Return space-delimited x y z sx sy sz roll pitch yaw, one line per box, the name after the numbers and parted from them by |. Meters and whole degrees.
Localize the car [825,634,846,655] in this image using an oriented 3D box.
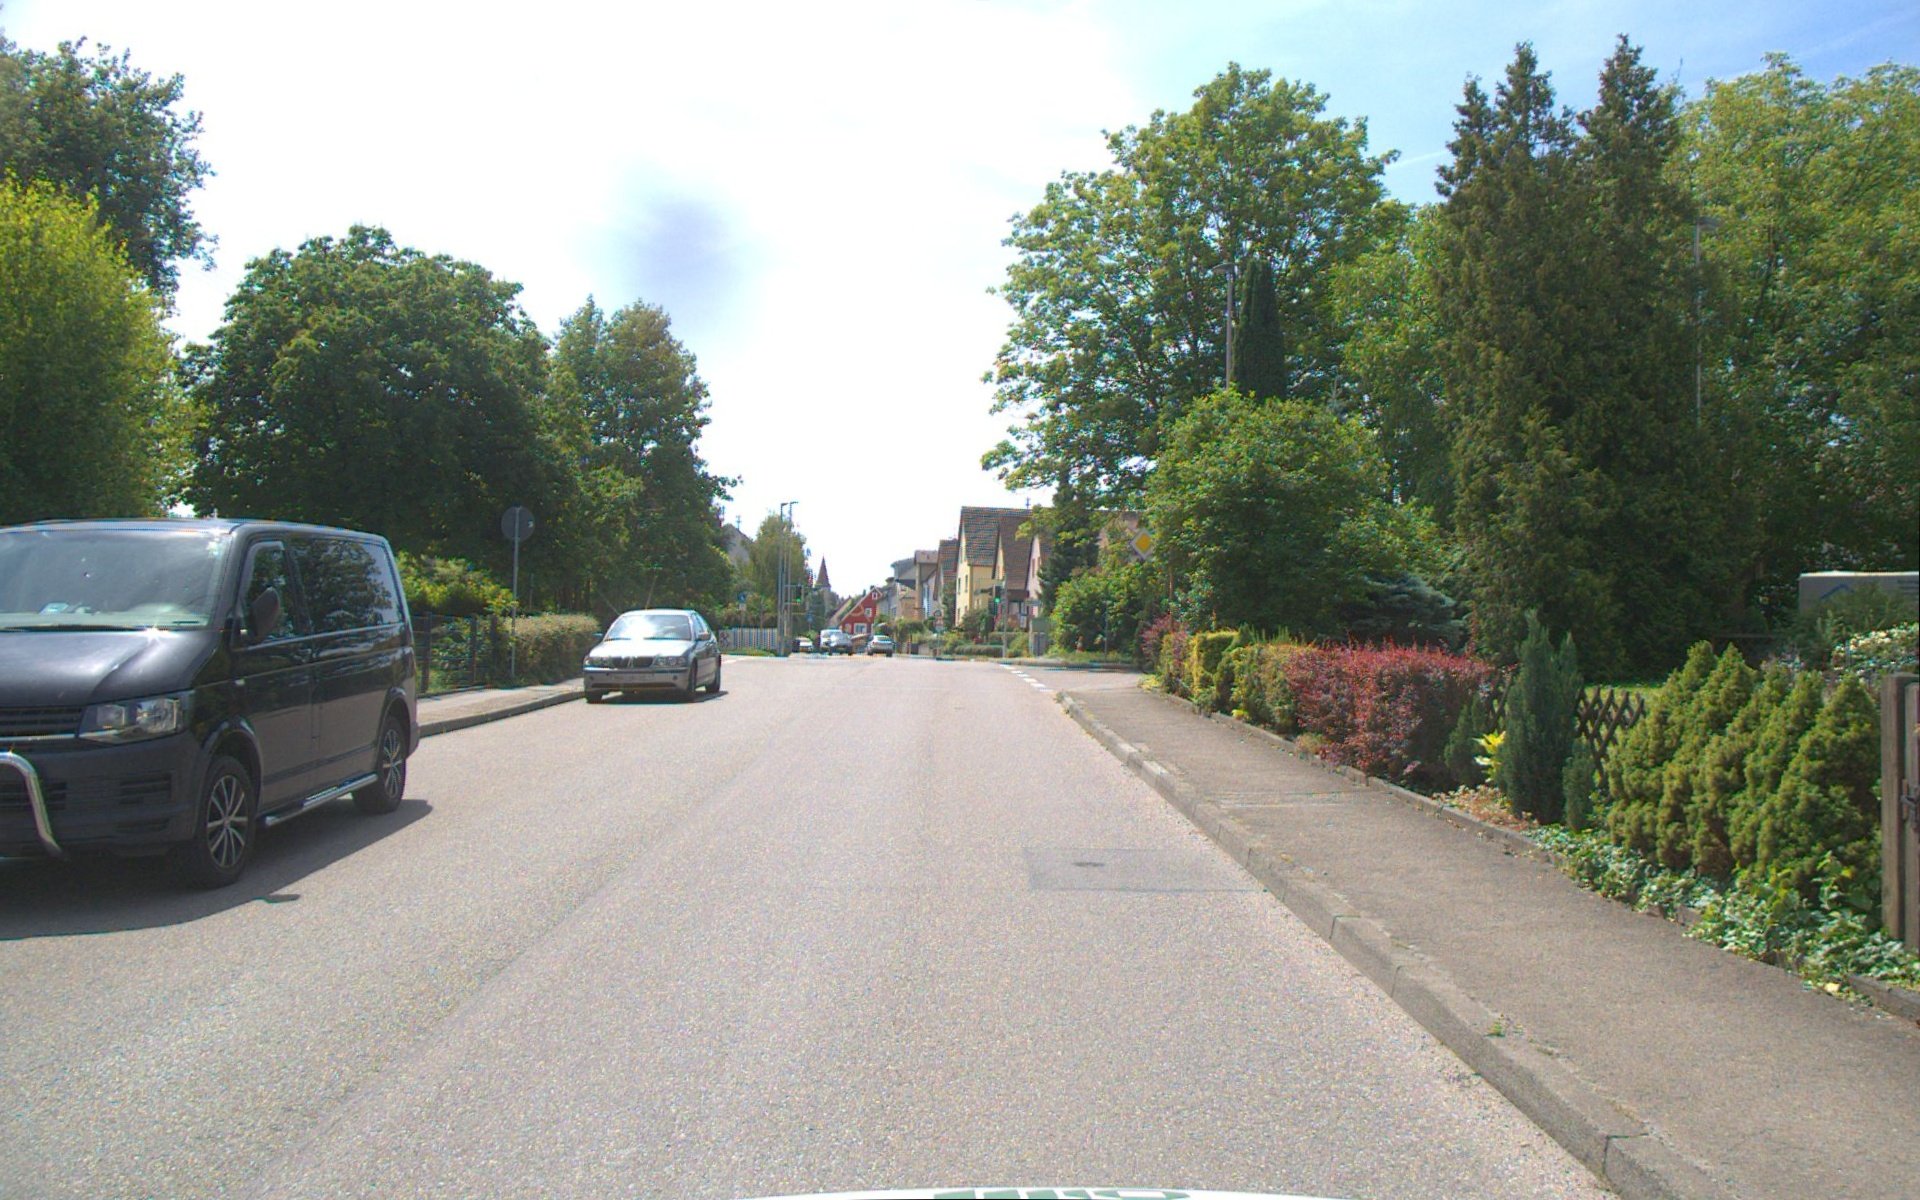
-9.405 3.345 125.062 1.504 1.568 4.300 1 -1 -5 | car

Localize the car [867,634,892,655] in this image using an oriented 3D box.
-6.571 3.613 134.591 1.953 1.631 3.998 0 0 -2 | car

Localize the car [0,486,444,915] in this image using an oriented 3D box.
-4.712 0.454 9.999 1.858 1.954 4.867 -1 0 -3 | car

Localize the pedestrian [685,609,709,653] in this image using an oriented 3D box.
-11.021 1.321 69.338 0.720 1.809 0.690 -2 -3 17 | pedestrian

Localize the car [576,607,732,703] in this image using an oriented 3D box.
-4.891 0.853 27.008 1.744 1.419 4.408 -1 -1 -1 | car

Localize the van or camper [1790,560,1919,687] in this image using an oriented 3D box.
17.095 0.449 29.897 1.803 2.178 3.338 5 -4 -40 | van or camper

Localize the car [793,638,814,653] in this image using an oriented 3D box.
-16.518 4.817 174.689 2.068 1.588 4.311 0 -2 -3 | car
